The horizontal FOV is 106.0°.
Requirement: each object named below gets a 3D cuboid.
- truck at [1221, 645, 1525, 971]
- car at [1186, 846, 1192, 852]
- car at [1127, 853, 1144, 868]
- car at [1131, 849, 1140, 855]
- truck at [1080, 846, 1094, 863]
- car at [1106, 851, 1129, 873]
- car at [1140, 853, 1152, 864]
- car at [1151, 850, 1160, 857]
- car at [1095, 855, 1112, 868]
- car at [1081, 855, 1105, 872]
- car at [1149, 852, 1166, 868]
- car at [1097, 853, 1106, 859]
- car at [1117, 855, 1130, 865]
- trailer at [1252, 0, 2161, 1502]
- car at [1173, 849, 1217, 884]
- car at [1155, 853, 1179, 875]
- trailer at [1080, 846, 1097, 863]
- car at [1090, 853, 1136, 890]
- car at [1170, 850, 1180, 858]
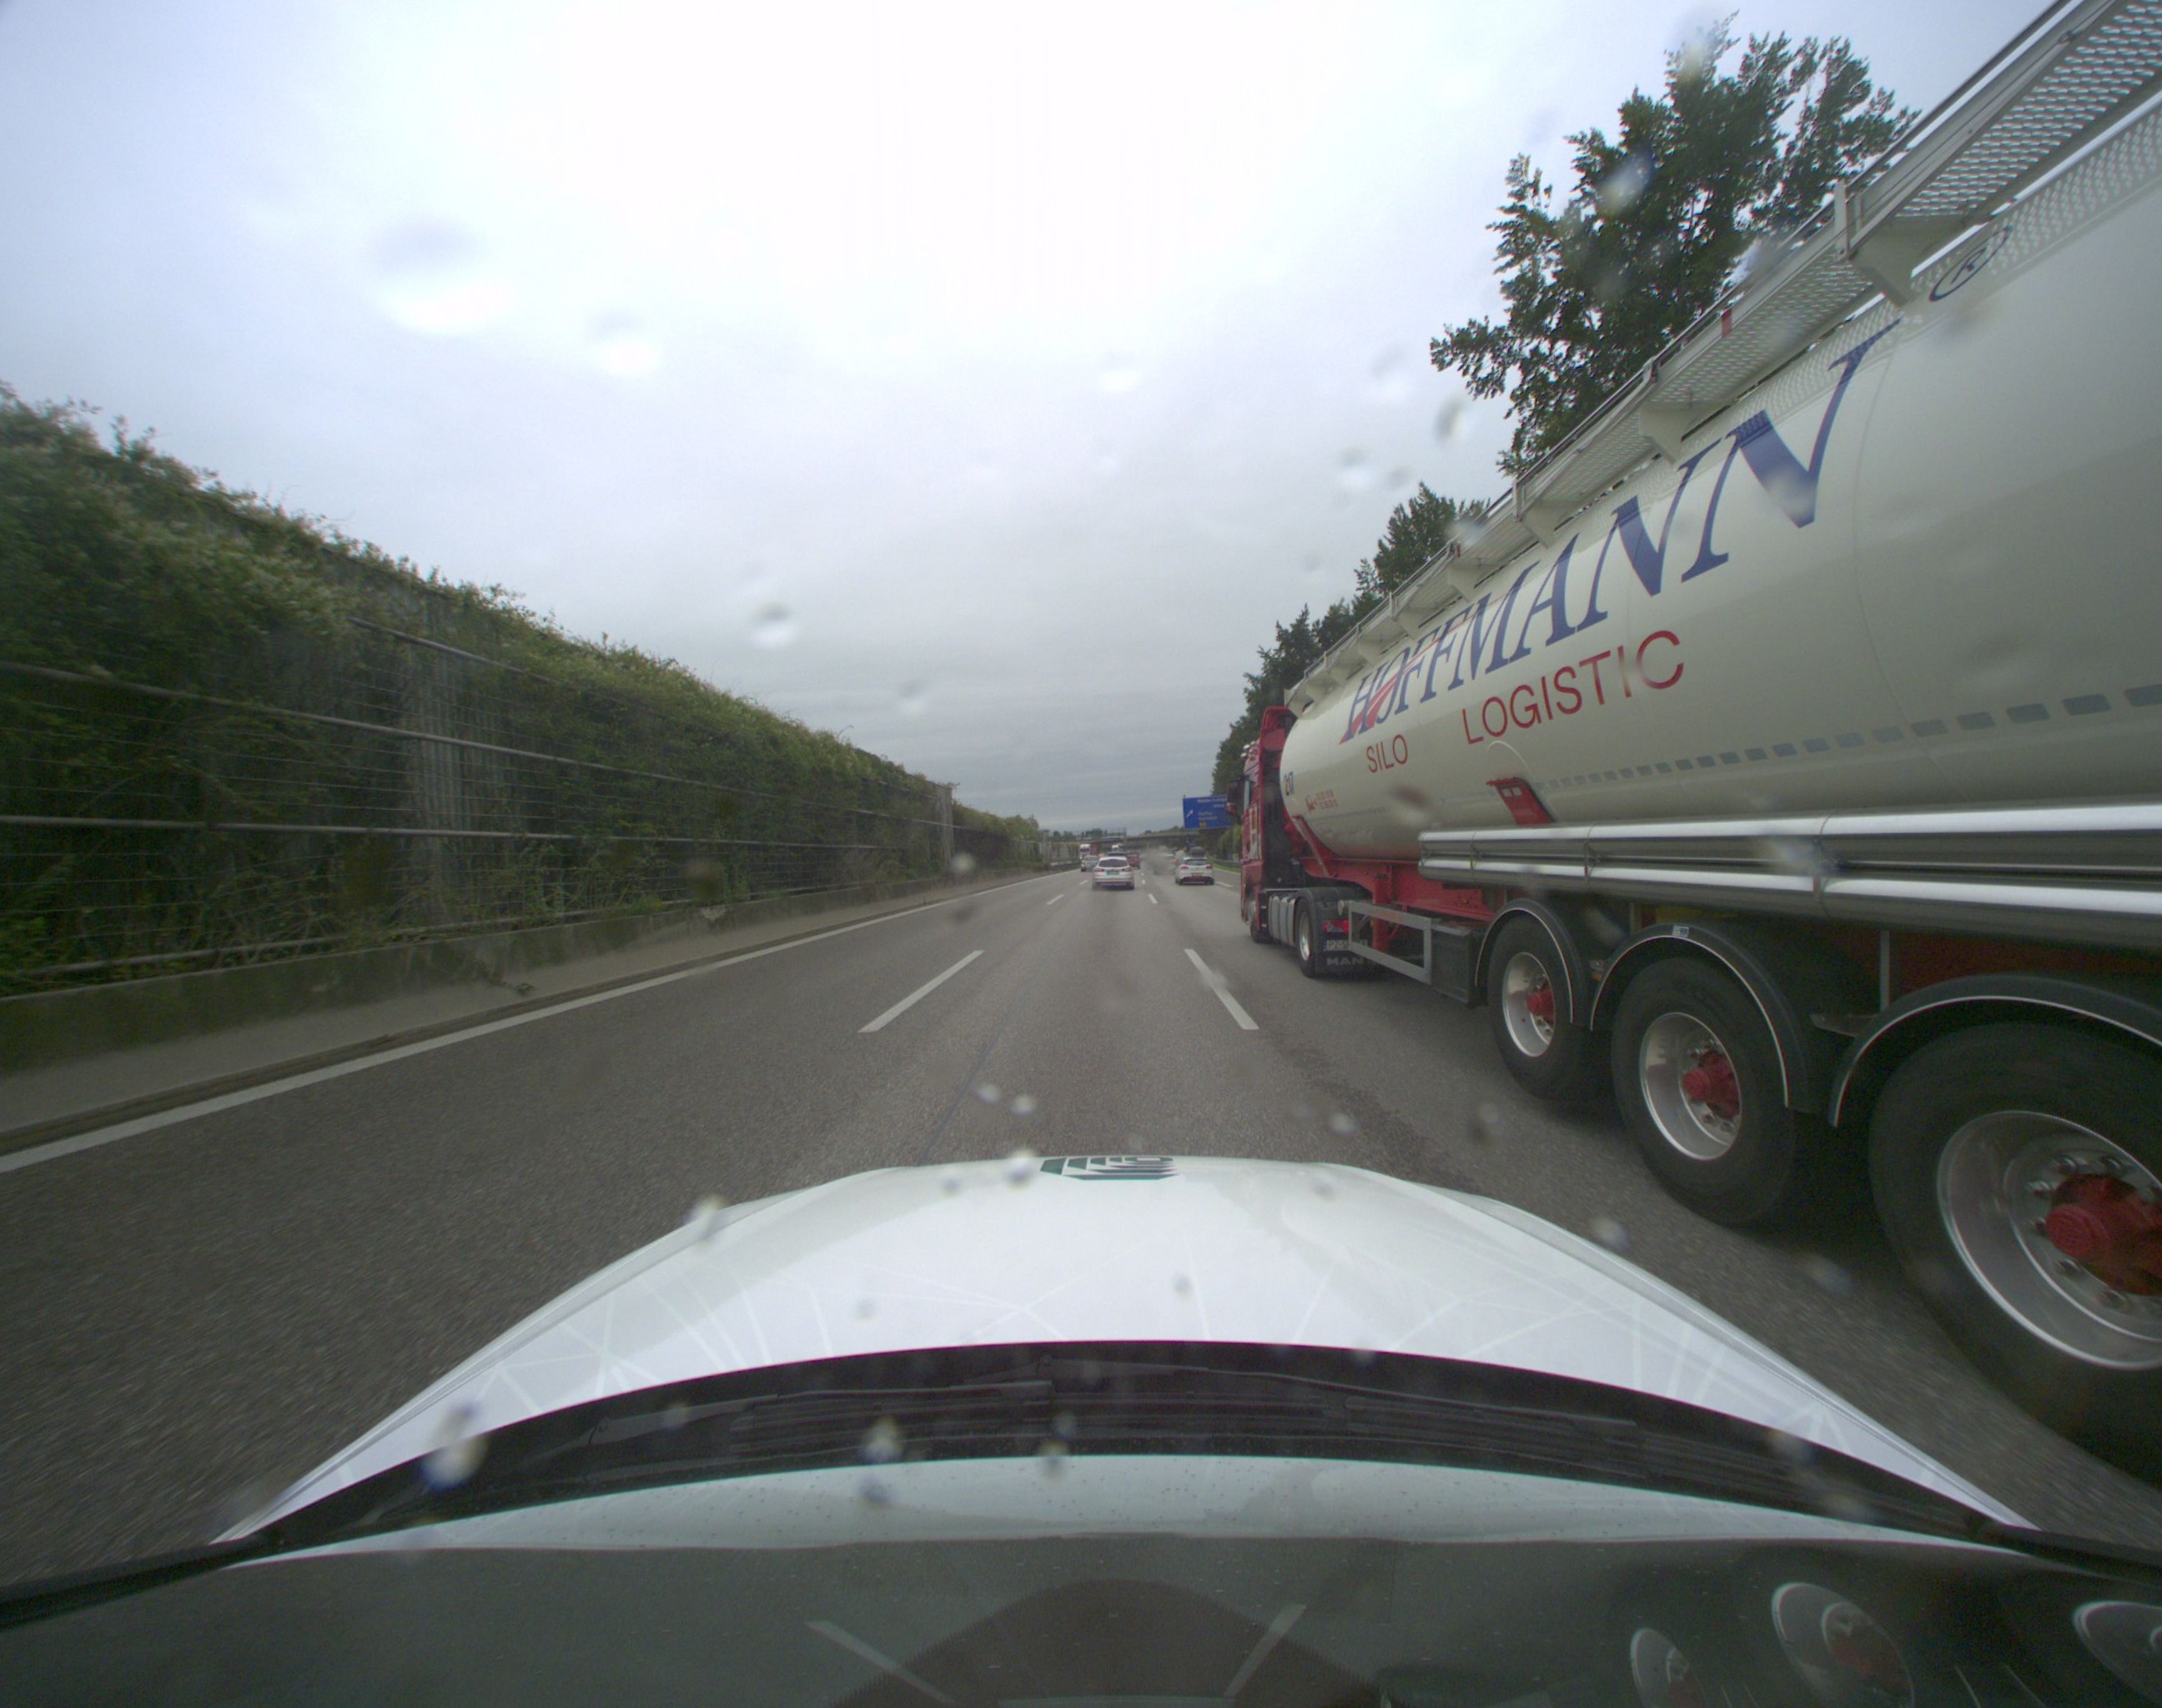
[{"bbox_3d":[4.132,-0.550,13.246,2.685,3.912,6.559,-2,0,2],"label":"truck"},{"bbox_3d":[29.525,-1.414,222.572,1.680,1.422,3.879,-2,0,7],"label":"car"},{"bbox_3d":[5.651,0.666,84.190,1.680,1.506,3.877,-1,0,6],"label":"car"},{"bbox_3d":[11.948,-0.450,177.684,1.680,1.422,3.879,-2,0,7],"label":"car"},{"bbox_3d":[1.490,0.033,204.262,2.653,4.127,5.929,-2,0,8],"label":"truck"},{"bbox_3d":[2.886,0.607,63.881,1.681,1.506,3.876,2,1,4],"label":"car"},{"bbox_3d":[11.470,0.757,143.907,1.779,1.779,3.881,-3,-1,9],"label":"car"},{"bbox_3d":[16.172,-0.135,176.774,1.679,1.540,3.881,-3,-1,9],"label":"car"},{"bbox_3d":[2.775,0.915,99.384,1.711,1.512,5.039,-2,0,6],"label":"car"},{"bbox_3d":[1.190,0.895,76.609,1.711,1.469,5.039,-2,-2,7],"label":"car"},{"bbox_3d":[8.993,0.680,95.396,1.679,1.780,3.881,-3,-1,9],"label":"car"},{"bbox_3d":[5.175,0.479,204.584,1.763,1.569,4.723,-2,-1,4],"label":"car"},{"bbox_3d":[6.954,0.962,132.252,1.679,1.639,3.881,-3,-1,9],"label":"car"},{"bbox_3d":[3.828,-0.545,6.031,2.658,3.939,13.135,-1,0,2],"label":"trailer"},{"bbox_3d":[5.716,0.604,41.300,1.808,1.625,5.034,-1,0,3],"label":"car"},{"bbox_3d":[6.539,0.751,61.873,1.680,1.506,3.877,-2,-1,6],"label":"car"},{"bbox_3d":[2.047,0.176,208.293,2.653,4.127,13.159,-2,0,8],"label":"trailer"},{"bbox_3d":[1.404,0.745,36.947,1.885,1.504,5.031,-1,0,1],"label":"car"},{"bbox_3d":[18.009,0.023,155.532,1.679,1.539,3.881,-2,0,9],"label":"car"}]
